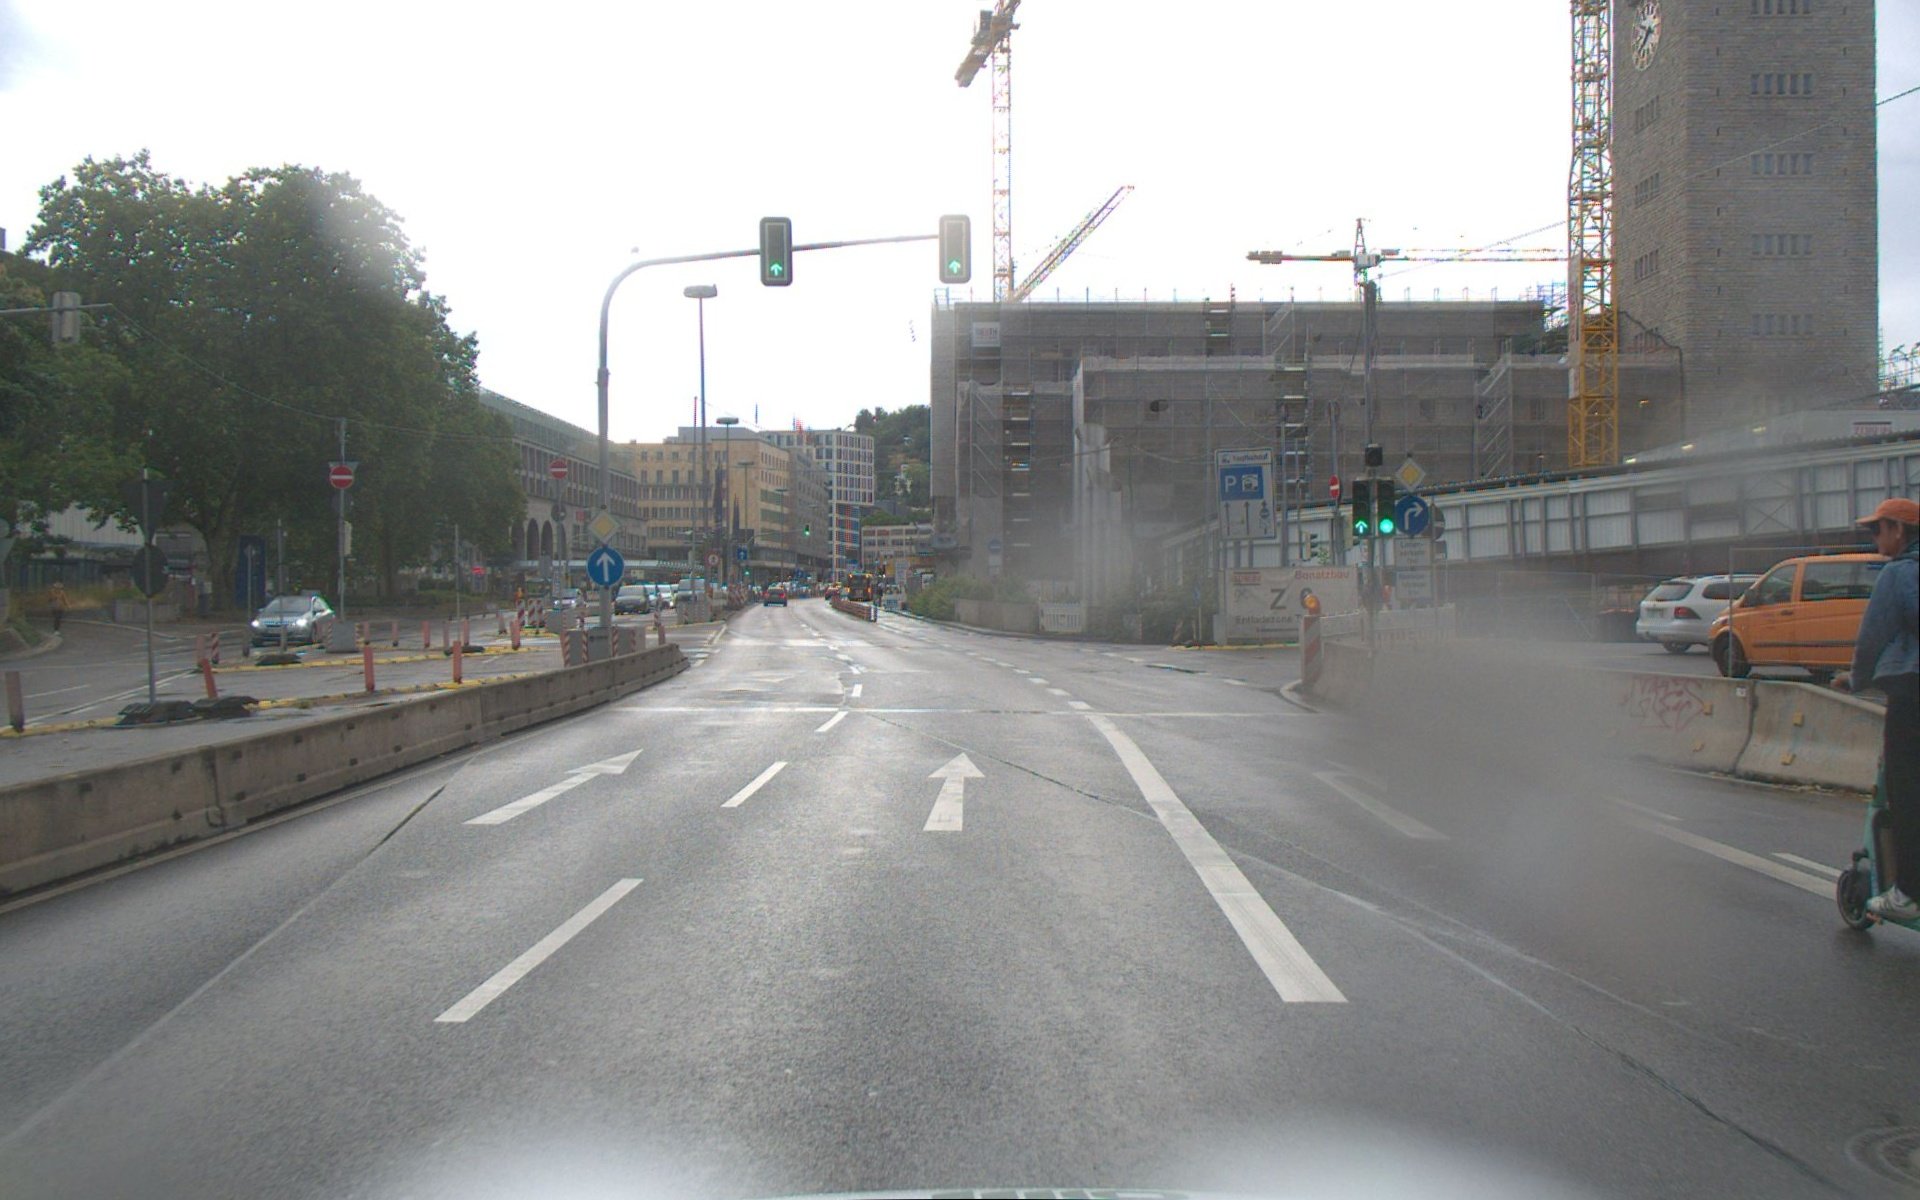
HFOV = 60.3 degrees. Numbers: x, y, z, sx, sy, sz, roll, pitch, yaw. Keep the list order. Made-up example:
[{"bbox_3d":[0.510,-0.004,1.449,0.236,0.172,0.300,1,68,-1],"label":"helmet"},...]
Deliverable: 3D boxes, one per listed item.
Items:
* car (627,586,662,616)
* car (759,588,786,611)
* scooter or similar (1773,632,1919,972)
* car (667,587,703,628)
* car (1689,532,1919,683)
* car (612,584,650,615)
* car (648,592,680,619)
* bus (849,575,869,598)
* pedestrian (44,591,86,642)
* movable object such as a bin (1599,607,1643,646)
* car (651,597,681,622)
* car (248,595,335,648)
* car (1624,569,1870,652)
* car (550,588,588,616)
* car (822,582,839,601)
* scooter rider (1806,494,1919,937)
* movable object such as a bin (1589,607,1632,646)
[{"bbox_3d":[-19.123,0.078,100.271,1.867,1.555,4.168,-2,-2,-8],"label":"car"},{"bbox_3d":[-14.618,-0.041,128.678,1.867,1.555,4.168,-2,-2,-8],"label":"car"},{"bbox_3d":[4.231,0.829,7.321,0.584,1.342,1.668,0,0,6],"label":"scooter or similar"},{"bbox_3d":[-15.721,0.434,94.680,1.867,2.119,4.168,-2,-2,-8],"label":"car"},{"bbox_3d":[13.240,0.094,24.495,1.878,2.010,5.149,0,0,-11],"label":"car"},{"bbox_3d":[-18.777,-0.029,94.453,1.867,1.555,4.168,-2,-2,-8],"label":"car"},{"bbox_3d":[-19.528,0.380,109.238,1.867,1.555,4.168,-2,-2,-8],"label":"car"},{"bbox_3d":[-11.524,-1.524,189.196,1.953,2.474,3.999,-2,-2,-1],"label":"bus"},{"bbox_3d":[-28.424,0.527,52.548,0.574,1.585,1.114,-3,-2,11],"label":"pedestrian"},{"bbox_3d":[19.683,0.787,49.295,0.970,1.121,0.747,-2,-2,2],"label":"movable object such as a bin"},{"bbox_3d":[-20.741,0.671,116.735,1.867,1.555,4.168,-2,-2,-8],"label":"car"},{"bbox_3d":[-20.556,0.643,50.989,1.735,1.488,4.164,-3,0,-12],"label":"car"},{"bbox_3d":[15.503,0.176,32.672,4.126,1.477,1.810,-2,1,-11],"label":"car"},{"bbox_3d":[-24.184,0.132,102.391,1.867,1.555,4.168,-2,-2,-8],"label":"car"},{"bbox_3d":[-15.401,-1.046,197.250,1.955,2.049,3.996,-2,-2,-5],"label":"car"},{"bbox_3d":[4.223,0.472,7.254,0.584,1.817,0.998,0,0,6],"label":"scooter rider"},{"bbox_3d":[19.723,0.803,50.146,0.970,1.121,0.730,-2,-2,2],"label":"movable object such as a bin"}]
